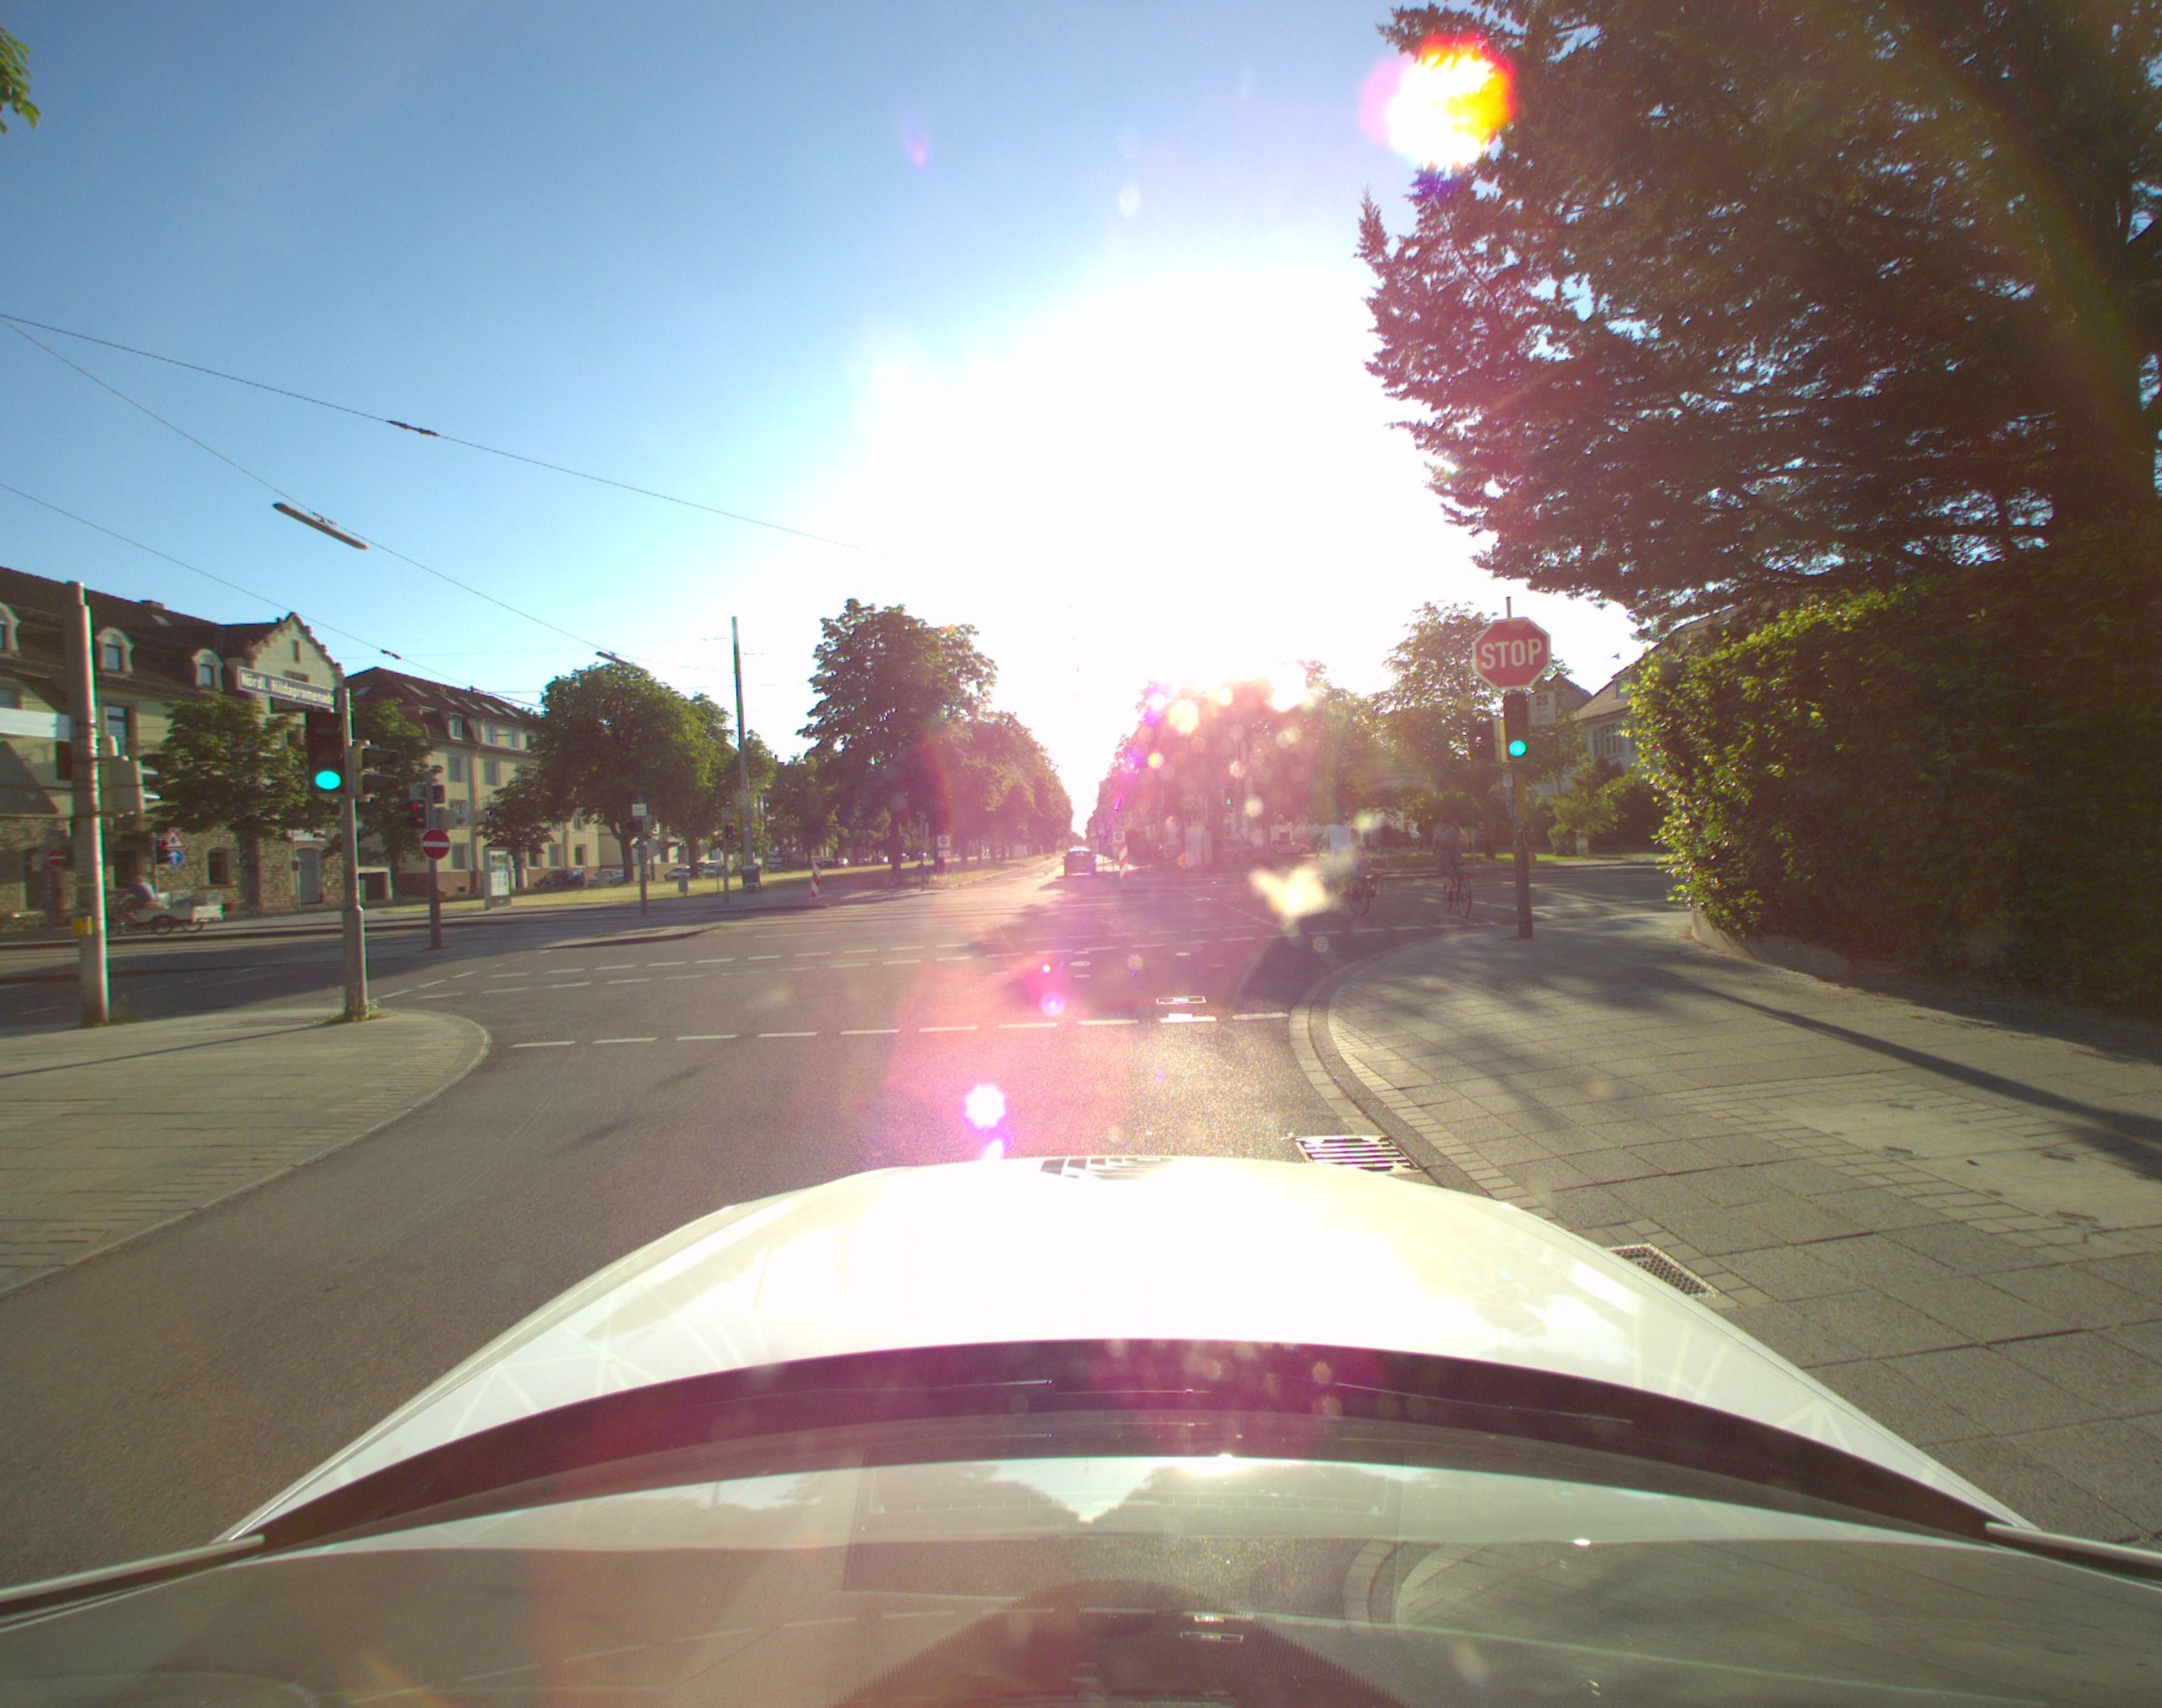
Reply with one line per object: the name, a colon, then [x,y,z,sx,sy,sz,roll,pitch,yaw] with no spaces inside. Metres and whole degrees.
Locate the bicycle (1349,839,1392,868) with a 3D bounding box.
bicycle: [11.601,-0.017,32.661,1.513,1.089,0.468,-2,3,9]

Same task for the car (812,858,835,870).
car: [-37.101,1.420,117.614,1.873,1.674,4.315,0,-1,1]

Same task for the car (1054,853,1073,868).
car: [-1.618,0.597,78.369,1.704,1.359,4.202,0,-1,0]

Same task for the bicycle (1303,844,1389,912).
bicycle: [4.887,0.416,15.156,0.573,1.184,1.895,0,0,-15]

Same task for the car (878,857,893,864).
car: [-41.683,1.393,173.965,1.986,1.659,4.357,0,-1,2]

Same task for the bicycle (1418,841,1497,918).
bicycle: [6.533,0.398,14.241,0.489,1.183,1.965,0,3,1]

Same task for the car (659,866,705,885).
car: [-37.461,1.986,76.649,1.986,1.659,4.572,0,-1,2]

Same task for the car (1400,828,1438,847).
car: [29.945,-1.482,72.089,1.974,1.552,4.026,-2,1,41]

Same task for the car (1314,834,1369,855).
car: [20.927,-0.763,65.545,3.915,1.524,1.521,-1,-1,-5]

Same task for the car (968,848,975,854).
car: [-34.324,-0.913,254.880,1.649,1.938,3.566,0,-2,-1]

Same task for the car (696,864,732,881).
car: [-37.219,1.832,82.693,1.791,1.554,4.417,0,1,-2]

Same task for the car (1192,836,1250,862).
car: [11.223,-0.383,65.404,4.228,1.875,2.030,-2,-1,-1]

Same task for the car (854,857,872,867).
car: [-36.904,1.348,137.905,1.805,1.781,4.123,0,-1,1]

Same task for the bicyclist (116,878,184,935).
bicyclist: [-29.601,1.660,25.903,1.139,1.723,0.876,-3,-1,4]

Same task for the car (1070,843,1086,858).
car: [-0.343,-0.447,103.922,1.987,1.781,3.999,0,1,-1]

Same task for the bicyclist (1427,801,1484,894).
bicyclist: [6.549,-0.104,14.292,0.707,1.562,0.897,-1,-1,12]

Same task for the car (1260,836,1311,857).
car: [16.293,-0.575,65.011,3.548,1.516,1.602,-2,0,-6]

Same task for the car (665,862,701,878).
car: [-42.714,1.694,87.454,1.709,1.633,4.192,0,-1,2]

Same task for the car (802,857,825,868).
car: [-41.987,1.392,127.948,1.986,1.659,4.376,0,-1,2]

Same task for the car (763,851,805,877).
car: [-37.157,1.182,102.119,2.384,3.131,7.853,0,0,0]

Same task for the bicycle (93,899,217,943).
bicycle: [-29.401,2.120,25.876,3.059,1.161,0.876,-3,-1,4]

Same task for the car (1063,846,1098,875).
car: [0.015,0.357,44.758,1.719,1.511,4.542,0,-1,2]

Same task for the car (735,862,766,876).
car: [-42.168,1.876,103.919,1.986,1.659,4.572,0,-1,2]

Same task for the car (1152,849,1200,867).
car: [8.372,0.359,72.029,3.975,1.447,1.715,-2,-1,-1]

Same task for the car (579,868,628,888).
car: [-42.971,2.134,73.383,1.986,1.659,4.001,0,-1,2]

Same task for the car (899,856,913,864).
car: [-36.300,1.317,168.650,2.016,1.659,3.984,0,-1,1]

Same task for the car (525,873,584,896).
car: [-43.355,2.467,67.165,1.986,1.736,4.313,0,-1,2]

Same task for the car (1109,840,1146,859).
car: [5.324,-0.477,93.568,3.980,1.822,1.757,-3,-5,-5]

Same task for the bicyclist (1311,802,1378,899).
bicyclist: [4.864,-0.053,15.075,0.816,1.732,0.889,0,-1,-16]
